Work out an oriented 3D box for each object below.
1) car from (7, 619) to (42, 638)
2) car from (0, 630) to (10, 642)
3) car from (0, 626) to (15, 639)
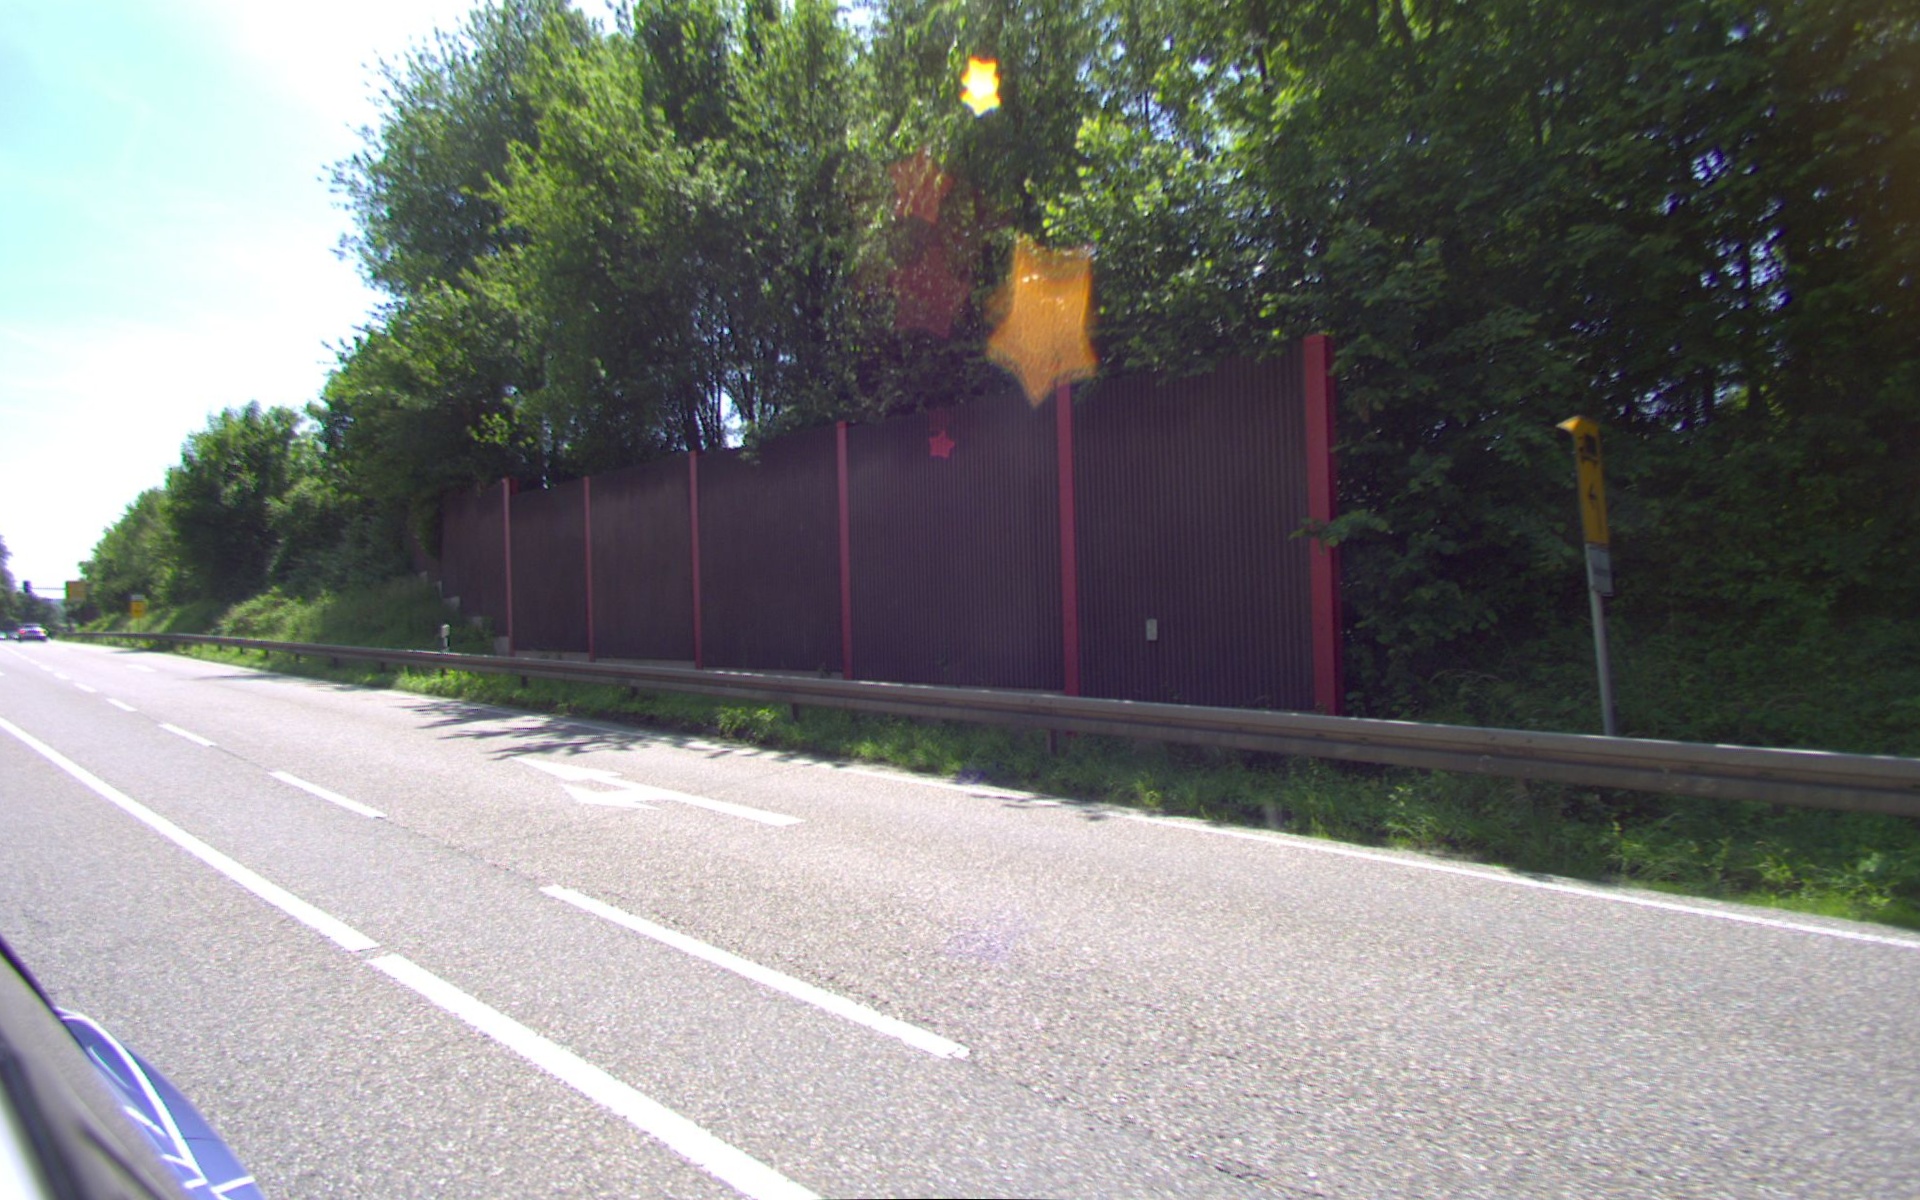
[{"bbox_3d":[-72.348,2.204,78.272,3.873,1.446,1.785,-1,-2,44],"label":"car"},{"bbox_3d":[-149.250,5.592,157.428,1.969,1.815,4.006,-2,0,-40],"label":"car"},{"bbox_3d":[-158.615,5.394,168.258,1.969,2.029,4.006,-2,0,-40],"label":"car"}]
